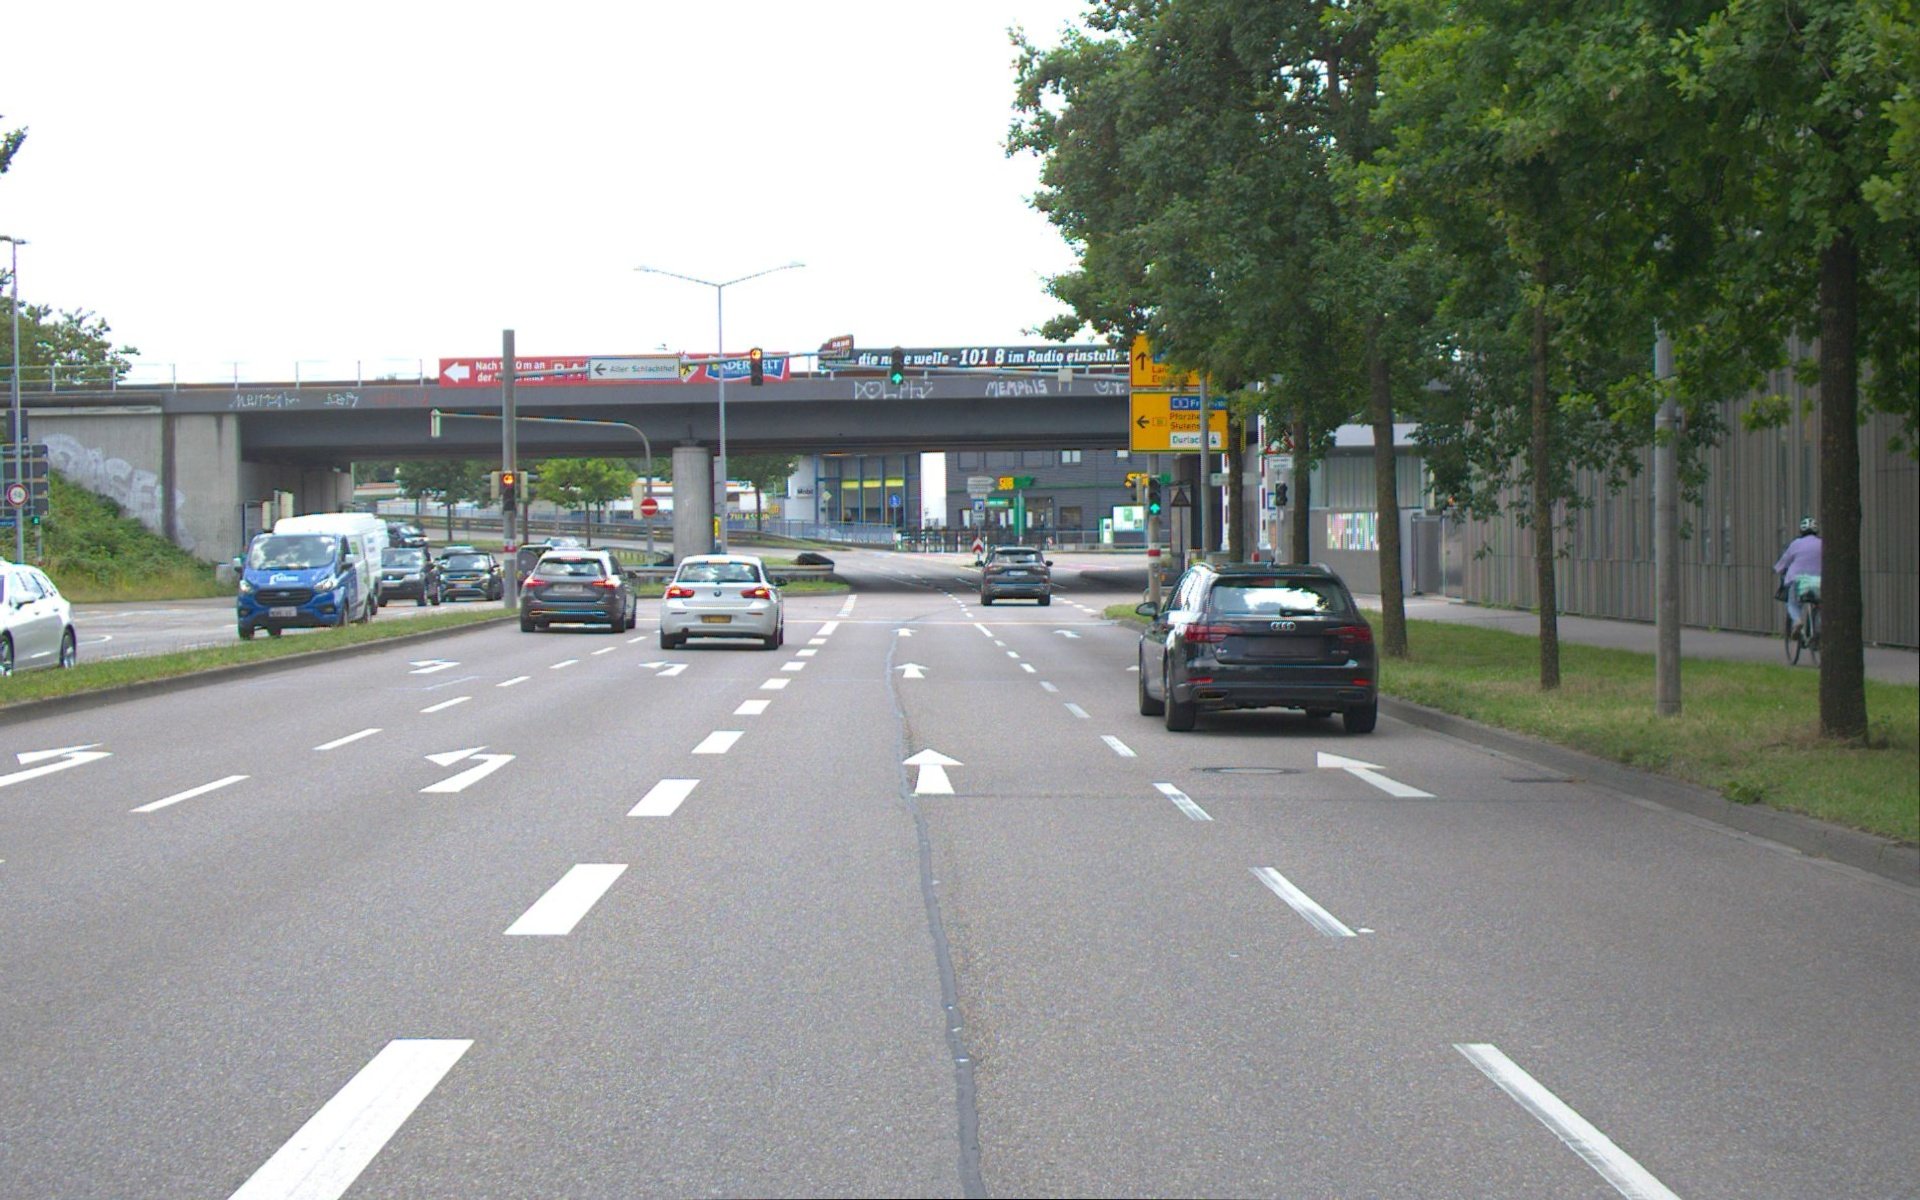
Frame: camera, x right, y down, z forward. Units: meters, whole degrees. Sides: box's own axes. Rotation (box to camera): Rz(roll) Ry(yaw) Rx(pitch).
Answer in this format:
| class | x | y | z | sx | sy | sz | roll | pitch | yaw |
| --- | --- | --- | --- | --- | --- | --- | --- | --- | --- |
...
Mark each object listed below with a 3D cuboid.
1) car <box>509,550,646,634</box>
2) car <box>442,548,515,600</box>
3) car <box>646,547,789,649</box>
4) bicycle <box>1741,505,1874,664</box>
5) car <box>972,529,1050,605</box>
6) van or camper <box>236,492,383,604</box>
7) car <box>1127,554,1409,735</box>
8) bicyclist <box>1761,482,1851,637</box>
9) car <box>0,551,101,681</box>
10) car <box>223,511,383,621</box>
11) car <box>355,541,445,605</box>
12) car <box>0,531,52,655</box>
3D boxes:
| class | x | y | z | sx | sy | sz | roll | pitch | yaw |
| --- | --- | --- | --- | --- | --- | --- | --- | --- | --- |
| car | -6.832 | -0.172 | 61.809 | 1.993 | 1.410 | 4.832 | 1 | 1 | -1 |
| car | -15.437 | -0.846 | 110.358 | 1.806 | 1.626 | 4.393 | -1 | 1 | -1 |
| car | -3.697 | -0.064 | 53.059 | 1.915 | 1.410 | 4.296 | 2 | 1 | -1 |
| bicycle | 9.791 | -0.193 | 39.822 | 0.719 | 1.768 | 2.534 | -1 | 1 | -5 |
| car | 1.362 | -0.919 | 94.342 | 1.993 | 2.030 | 4.713 | -1 | 1 | -1 |
| van or camper | -15.338 | -1.248 | 81.468 | 2.351 | 2.531 | 7.065 | 0 | 1 | -2 |
| car | 2.640 | 0.336 | 30.498 | 1.993 | 1.385 | 4.576 | 1 | 2 | -1 |
| bicyclist | 9.788 | -0.475 | 39.783 | 0.715 | 1.763 | 0.989 | -1 | 1 | -4 |
| car | -11.578 | 0.158 | 39.862 | 1.993 | 1.426 | 5.024 | -1 | 1 | -1 |
| car | -12.326 | -0.663 | 64.820 | 2.190 | 1.957 | 5.194 | -1 | 1 | -2 |
| car | -15.983 | -0.794 | 98.283 | 1.993 | 1.760 | 4.220 | -1 | 1 | -2 |
| car | -14.992 | -0.104 | 51.028 | 1.993 | 1.795 | 4.410 | -1 | 1 | -2 |
